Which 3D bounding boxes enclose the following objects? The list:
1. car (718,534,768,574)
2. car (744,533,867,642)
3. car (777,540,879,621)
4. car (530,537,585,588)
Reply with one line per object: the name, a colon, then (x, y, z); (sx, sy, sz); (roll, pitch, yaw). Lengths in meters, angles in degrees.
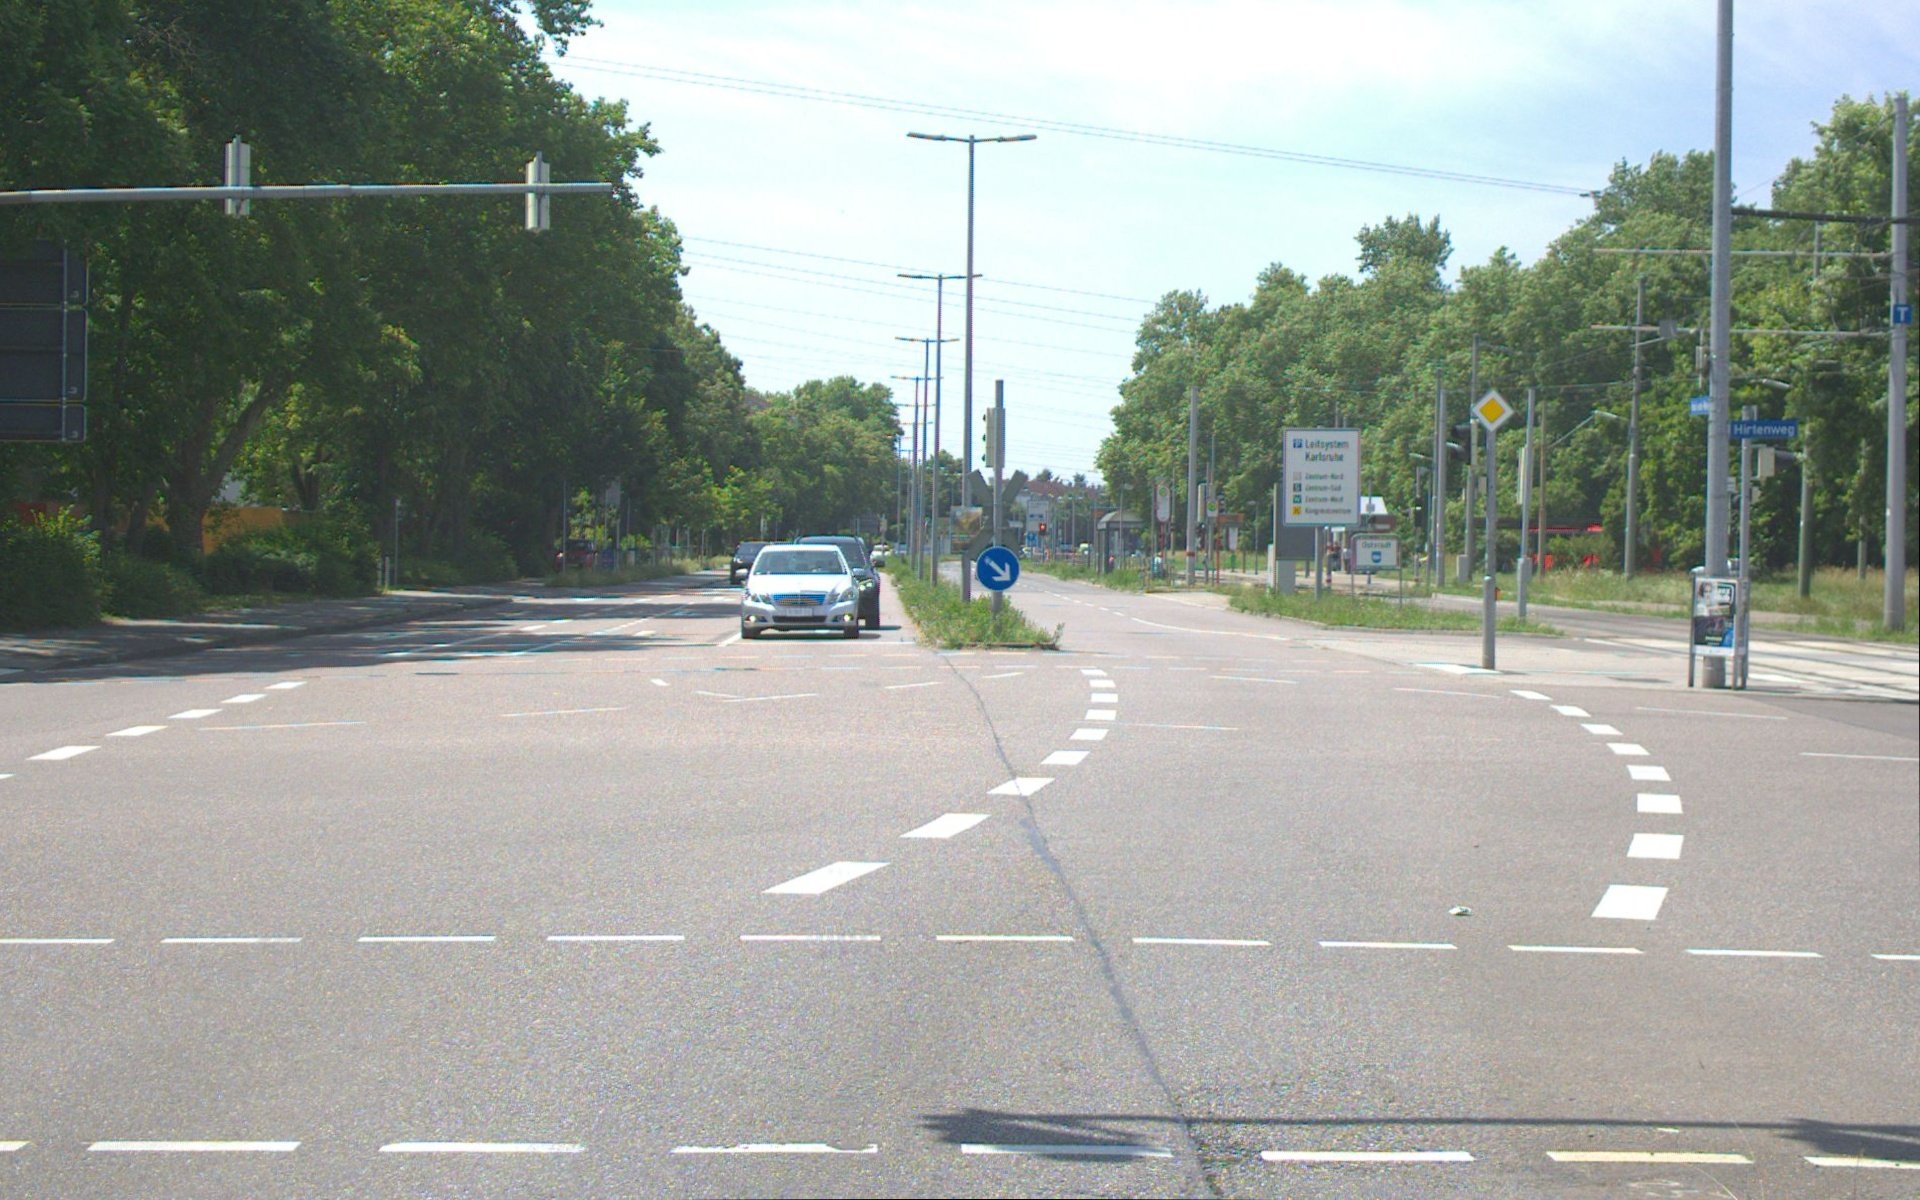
car: (-8.247, -1.772, 130.815); (1.671, 1.485, 3.711); (1, 1, -1)
car: (-2.398, -0.228, 54.239); (1.784, 1.623, 3.865); (1, 1, -1)
car: (-2.337, -0.374, 61.585); (1.710, 1.361, 3.865); (1, 1, -1)
car: (-16.935, -1.577, 144.772); (1.993, 2.007, 4.001); (4, 0, -4)
